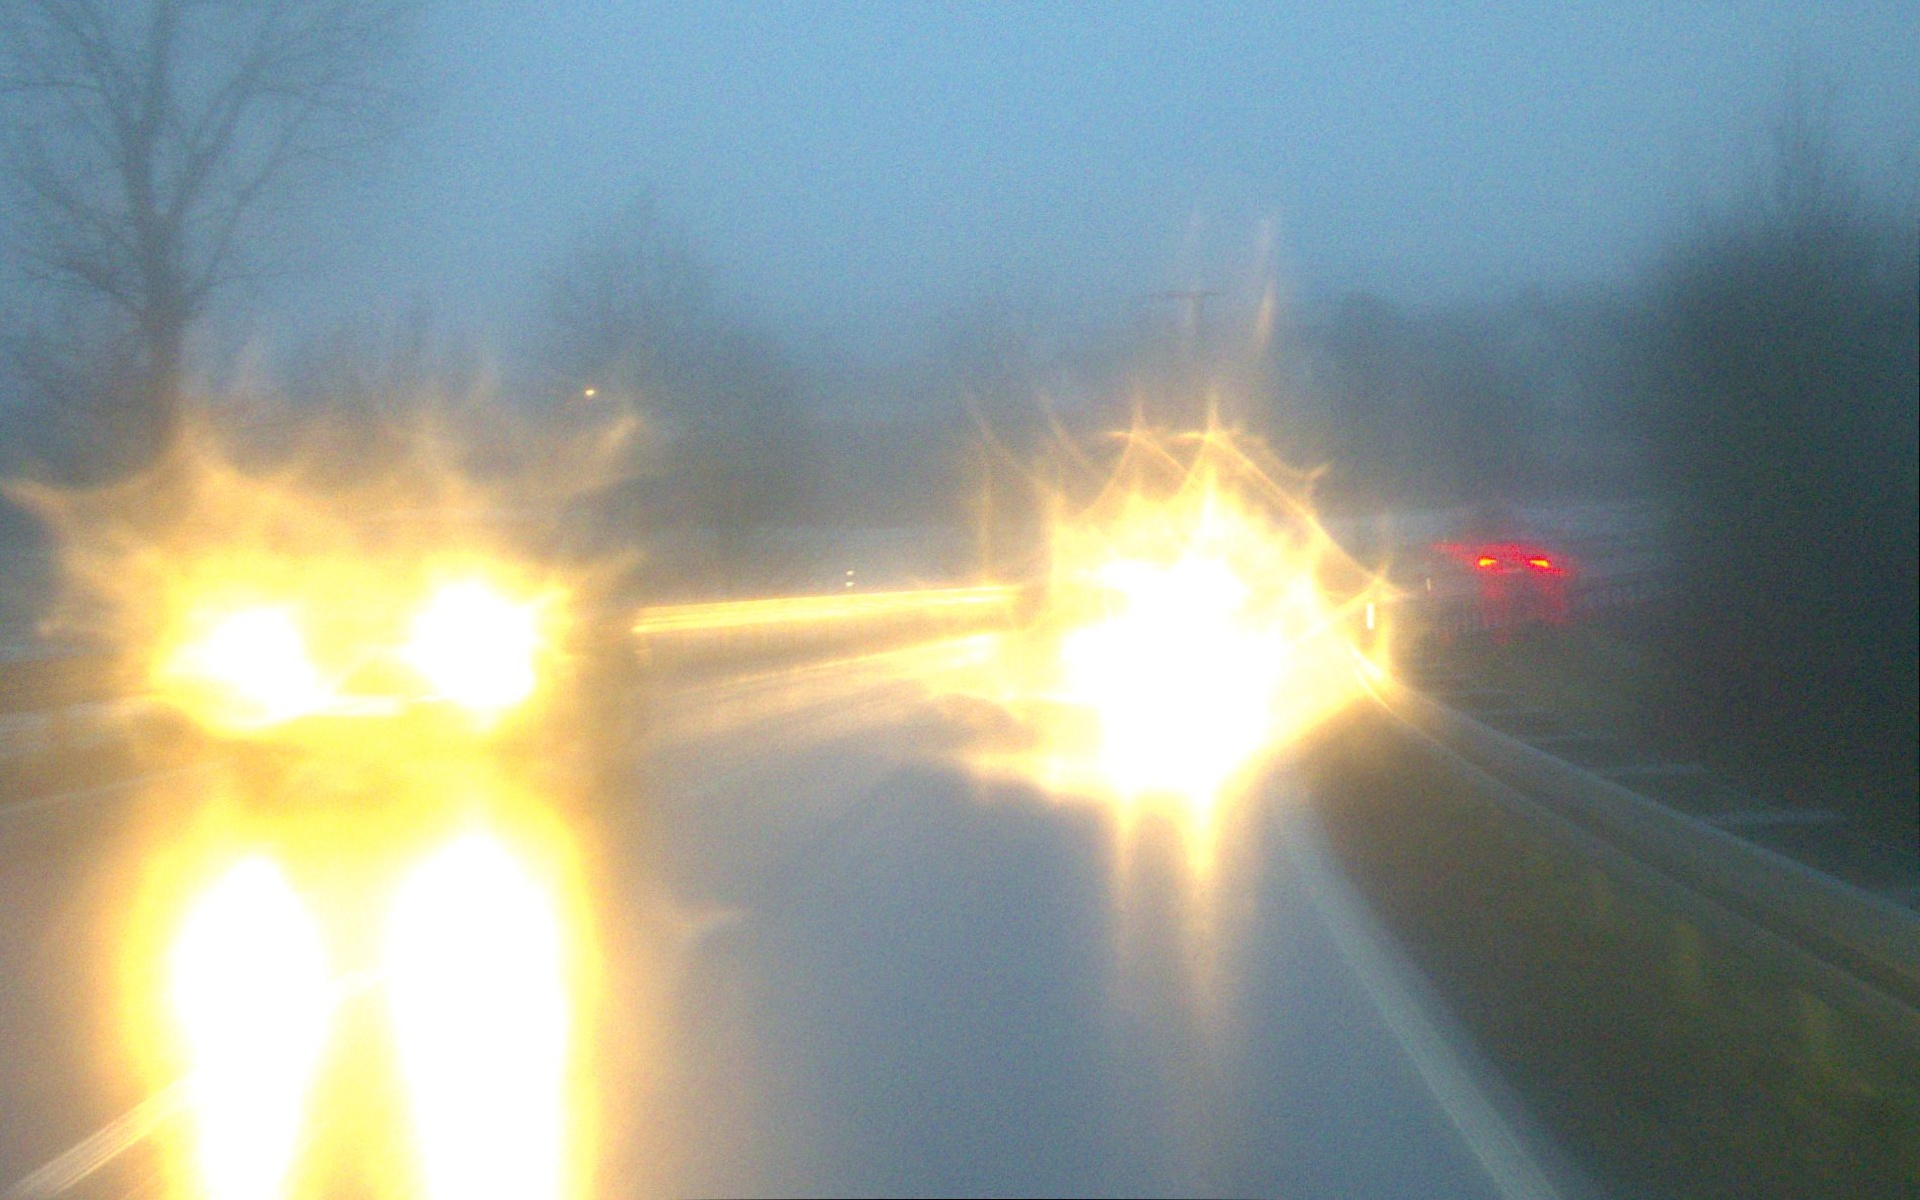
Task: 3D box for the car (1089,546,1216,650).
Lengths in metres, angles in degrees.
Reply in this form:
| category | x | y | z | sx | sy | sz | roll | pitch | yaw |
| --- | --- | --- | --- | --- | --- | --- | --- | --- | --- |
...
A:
| category | x | y | z | sx | sy | sz | roll | pitch | yaw |
| --- | --- | --- | --- | --- | --- | --- | --- | --- | --- |
| car | 3.732 | -0.076 | 65.780 | 1.884 | 1.857 | 5.004 | 0 | 1 | 9 |

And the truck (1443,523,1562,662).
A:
| category | x | y | z | sx | sy | sz | roll | pitch | yaw |
| --- | --- | --- | --- | --- | --- | --- | --- | --- | --- |
| truck | 13.136 | -0.231 | 82.967 | 2.533 | 2.859 | 5.921 | -2 | 4 | 11 |

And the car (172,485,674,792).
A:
| category | x | y | z | sx | sy | sz | roll | pitch | yaw |
| --- | --- | --- | --- | --- | --- | --- | --- | --- | --- |
| car | -3.059 | 0.149 | 20.690 | 2.010 | 1.629 | 4.873 | 0 | 1 | 3 |
